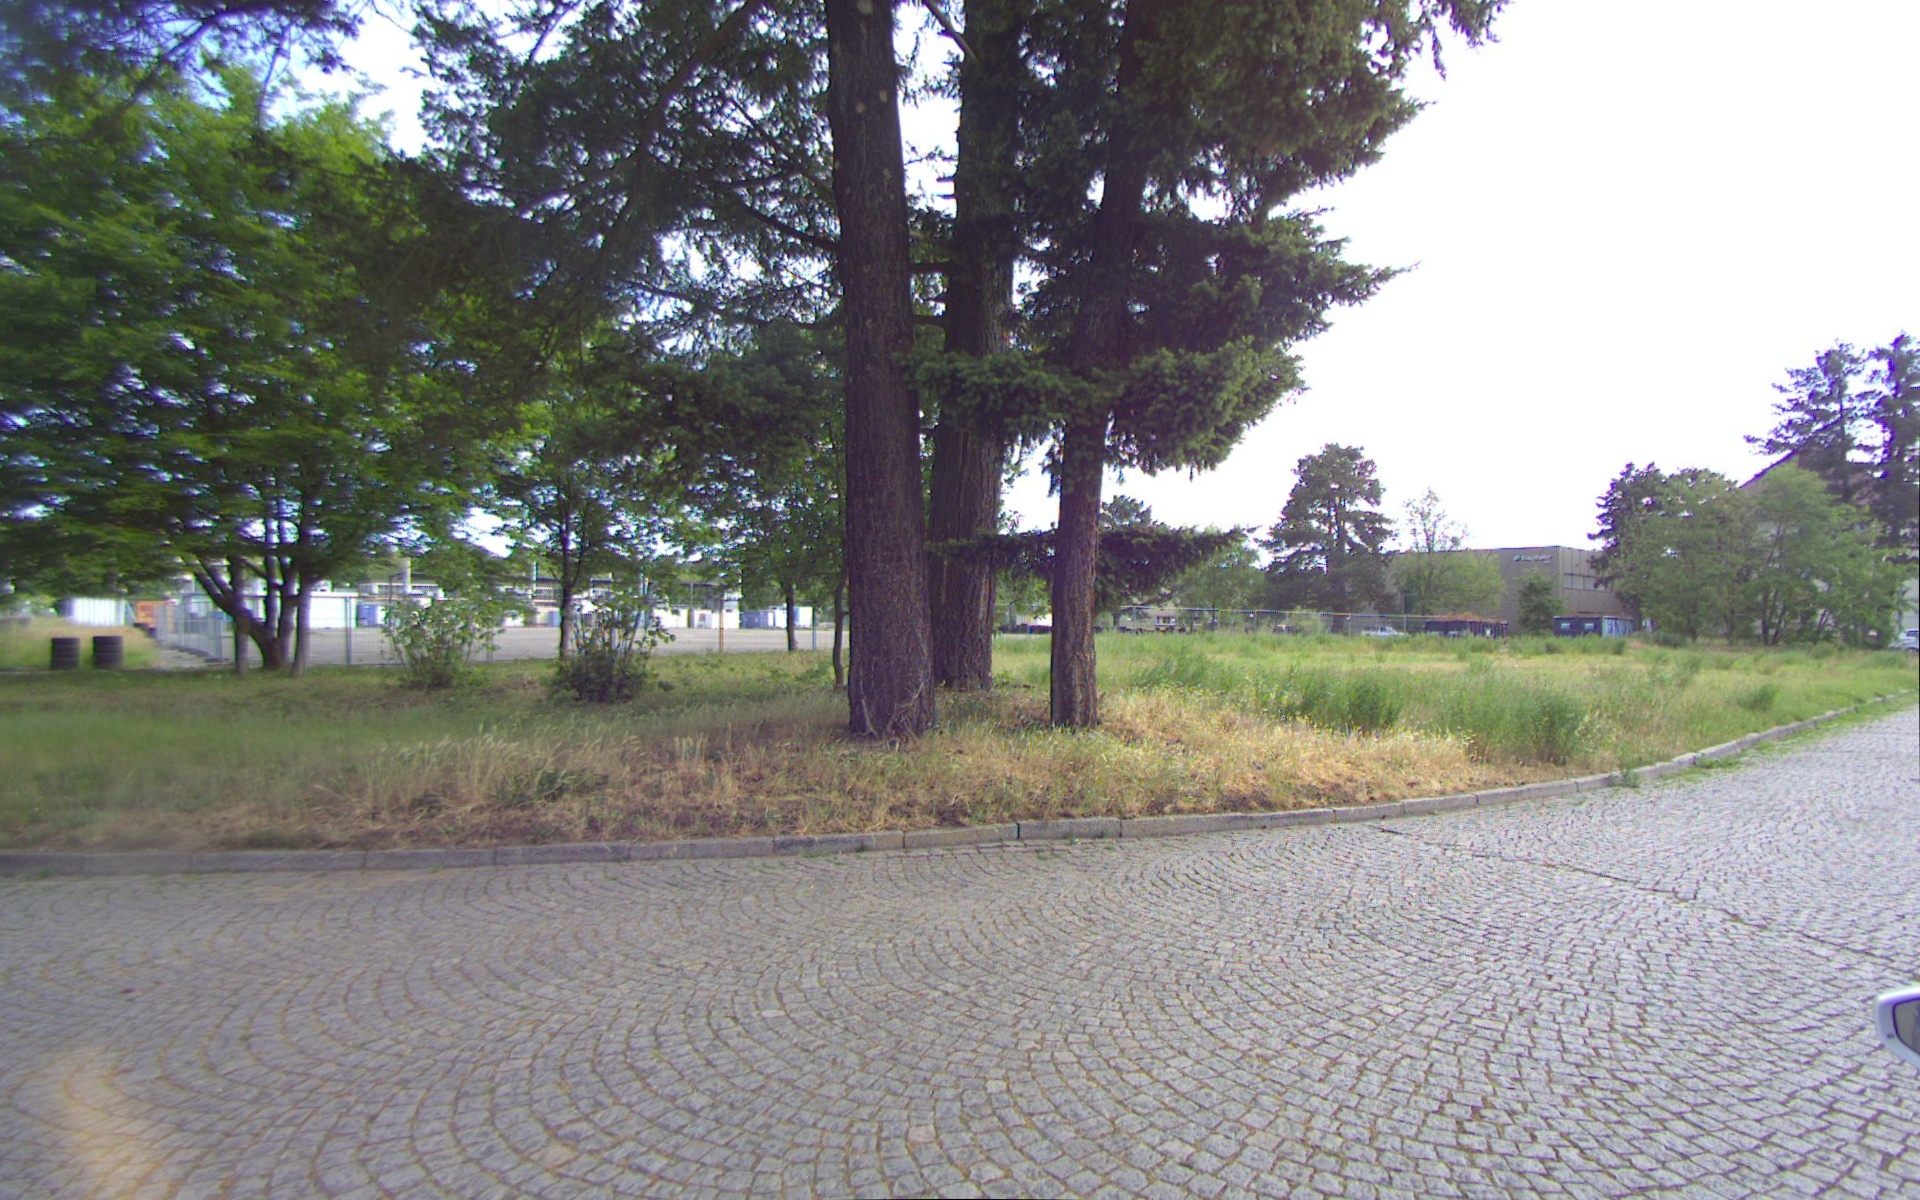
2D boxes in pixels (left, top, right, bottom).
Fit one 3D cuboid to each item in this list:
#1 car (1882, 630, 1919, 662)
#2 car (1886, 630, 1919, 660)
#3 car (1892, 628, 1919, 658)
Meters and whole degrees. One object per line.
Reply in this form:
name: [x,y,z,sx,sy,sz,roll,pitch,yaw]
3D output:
car: [53.416,2.500,54.977,4.254,1.755,1.642,-2,-2,44]
car: [51.610,2.366,52.804,4.253,1.574,1.801,-2,-2,44]
car: [49.832,2.240,50.919,1.661,1.500,3.685,1,1,-43]
